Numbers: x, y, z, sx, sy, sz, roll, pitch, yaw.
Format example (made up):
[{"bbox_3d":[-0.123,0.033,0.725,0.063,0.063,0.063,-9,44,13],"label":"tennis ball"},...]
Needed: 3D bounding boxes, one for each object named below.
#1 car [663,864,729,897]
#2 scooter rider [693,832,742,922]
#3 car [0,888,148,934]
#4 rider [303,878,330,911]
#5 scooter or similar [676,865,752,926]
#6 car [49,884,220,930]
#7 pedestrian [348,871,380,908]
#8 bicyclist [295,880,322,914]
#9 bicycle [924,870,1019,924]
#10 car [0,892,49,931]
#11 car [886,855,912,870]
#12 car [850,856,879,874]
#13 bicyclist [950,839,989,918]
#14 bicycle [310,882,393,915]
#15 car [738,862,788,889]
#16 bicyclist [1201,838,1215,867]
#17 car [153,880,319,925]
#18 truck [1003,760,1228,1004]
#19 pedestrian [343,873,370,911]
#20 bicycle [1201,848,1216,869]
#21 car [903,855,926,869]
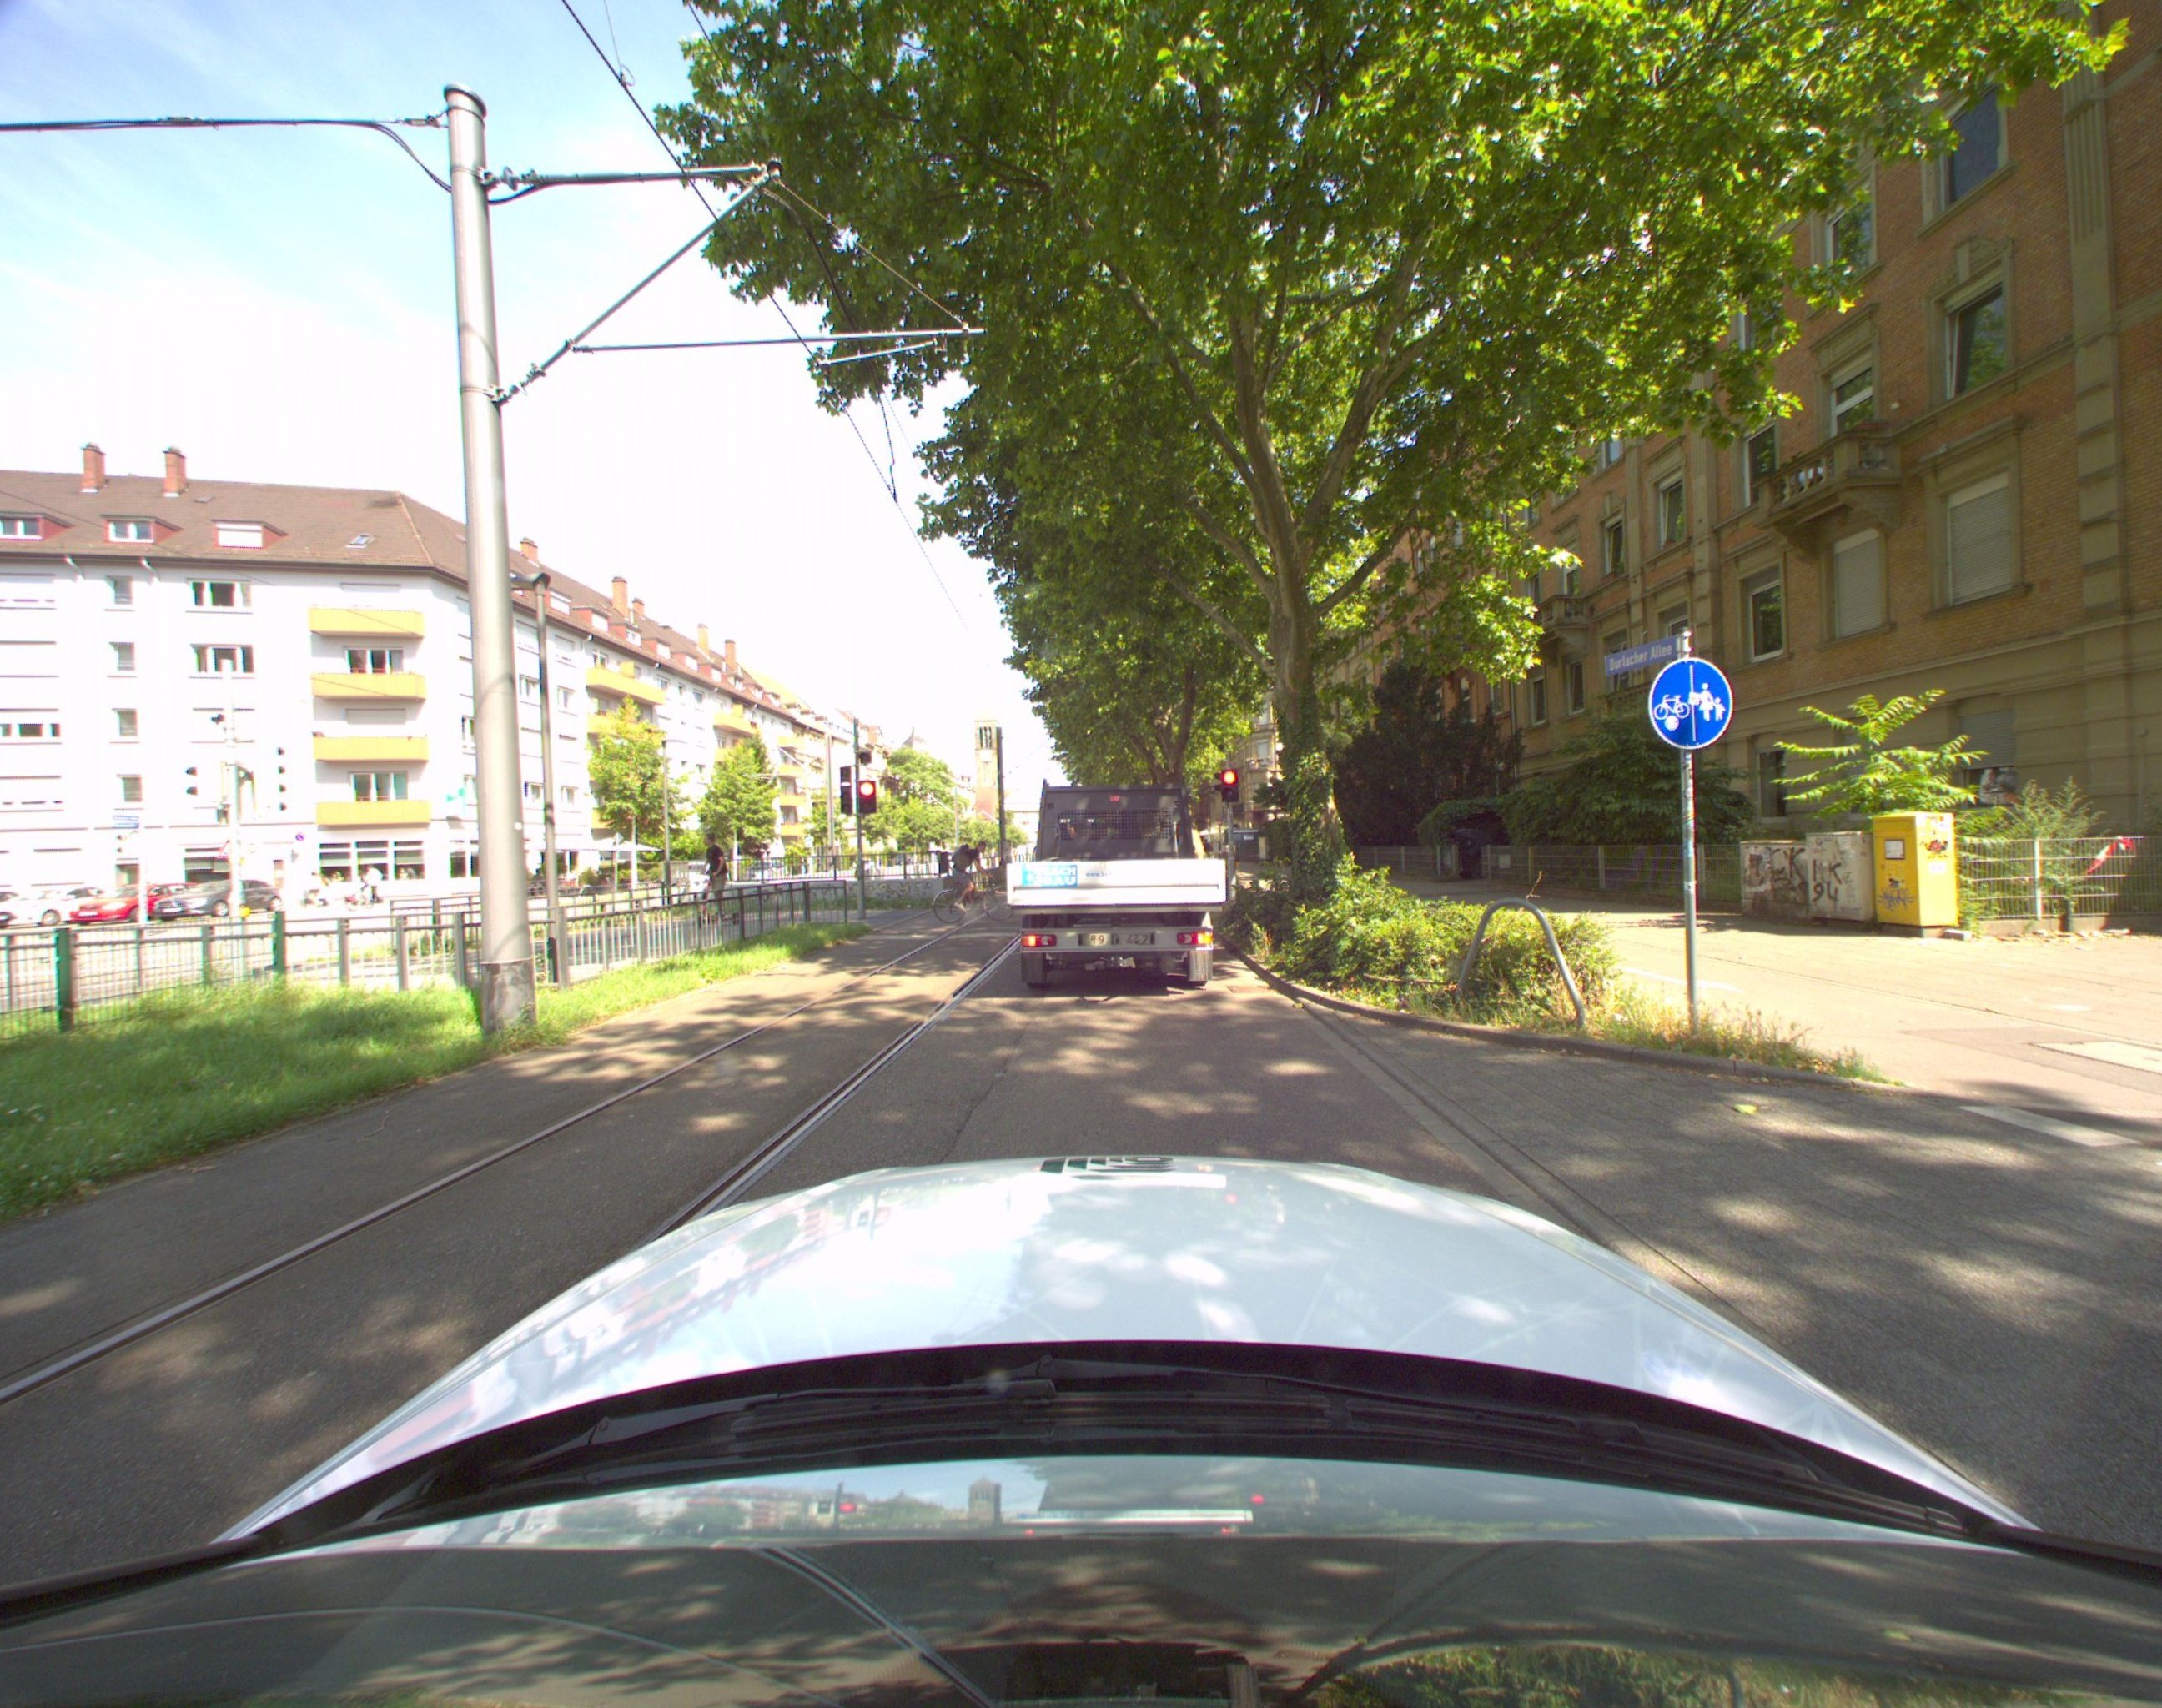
[{"bbox_3d":[-20.518,1.365,43.613,1.767,1.498,3.994,-4,0,-4],"label":"car"},{"bbox_3d":[-7.748,0.487,17.365,0.655,1.867,0.673,-2,0,37],"label":"scooter rider"},{"bbox_3d":[-39.280,2.165,31.425,1.930,1.406,4.158,-2,0,-6],"label":"car"},{"bbox_3d":[-33.700,1.783,35.924,0.624,1.423,0.587,-2,0,-15],"label":"rider"},{"bbox_3d":[-7.784,0.865,17.301,0.649,1.204,1.279,-2,0,38],"label":"scooter or similar"},{"bbox_3d":[-36.496,1.981,31.594,1.930,1.406,4.158,-2,0,-6],"label":"car"},{"bbox_3d":[-31.622,1.557,35.928,0.861,1.572,0.685,-2,0,-22],"label":"pedestrian"},{"bbox_3d":[-33.535,1.853,35.356,0.624,1.423,0.587,-2,0,-15],"label":"bicyclist"},{"bbox_3d":[-2.311,0.908,17.364,1.914,1.049,0.532,-2,0,-1],"label":"bicycle"},{"bbox_3d":[-41.834,2.243,30.219,1.930,1.406,4.158,-2,0,-6],"label":"car"},{"bbox_3d":[-19.472,0.911,87.204,1.764,1.498,4.000,-2,0,0],"label":"car"},{"bbox_3d":[-19.611,0.987,73.834,1.767,1.498,3.994,-2,0,-4],"label":"car"},{"bbox_3d":[-2.374,0.511,17.364,0.690,1.623,0.624,-2,0,-1],"label":"bicyclist"},{"bbox_3d":[-30.076,1.805,33.635,0.908,1.137,2.807,-2,0,-2],"label":"bicycle"},{"bbox_3d":[-20.306,1.312,52.195,1.767,1.498,3.994,-4,0,-4],"label":"car"},{"bbox_3d":[7.156,-0.094,45.888,0.635,1.573,0.580,-2,0,3],"label":"bicyclist"},{"bbox_3d":[-33.139,1.853,32.169,1.830,1.376,4.637,-2,0,-4],"label":"car"},{"bbox_3d":[0.433,0.252,9.945,2.130,2.319,4.404,0,0,3],"label":"truck"},{"bbox_3d":[-31.442,1.647,35.329,0.690,1.572,0.542,-2,0,-22],"label":"pedestrian"},{"bbox_3d":[7.185,0.256,45.974,0.563,1.112,2.312,-2,0,3],"label":"bicycle"},{"bbox_3d":[-19.397,0.865,95.045,1.764,1.498,4.000,-2,0,0],"label":"car"}]
